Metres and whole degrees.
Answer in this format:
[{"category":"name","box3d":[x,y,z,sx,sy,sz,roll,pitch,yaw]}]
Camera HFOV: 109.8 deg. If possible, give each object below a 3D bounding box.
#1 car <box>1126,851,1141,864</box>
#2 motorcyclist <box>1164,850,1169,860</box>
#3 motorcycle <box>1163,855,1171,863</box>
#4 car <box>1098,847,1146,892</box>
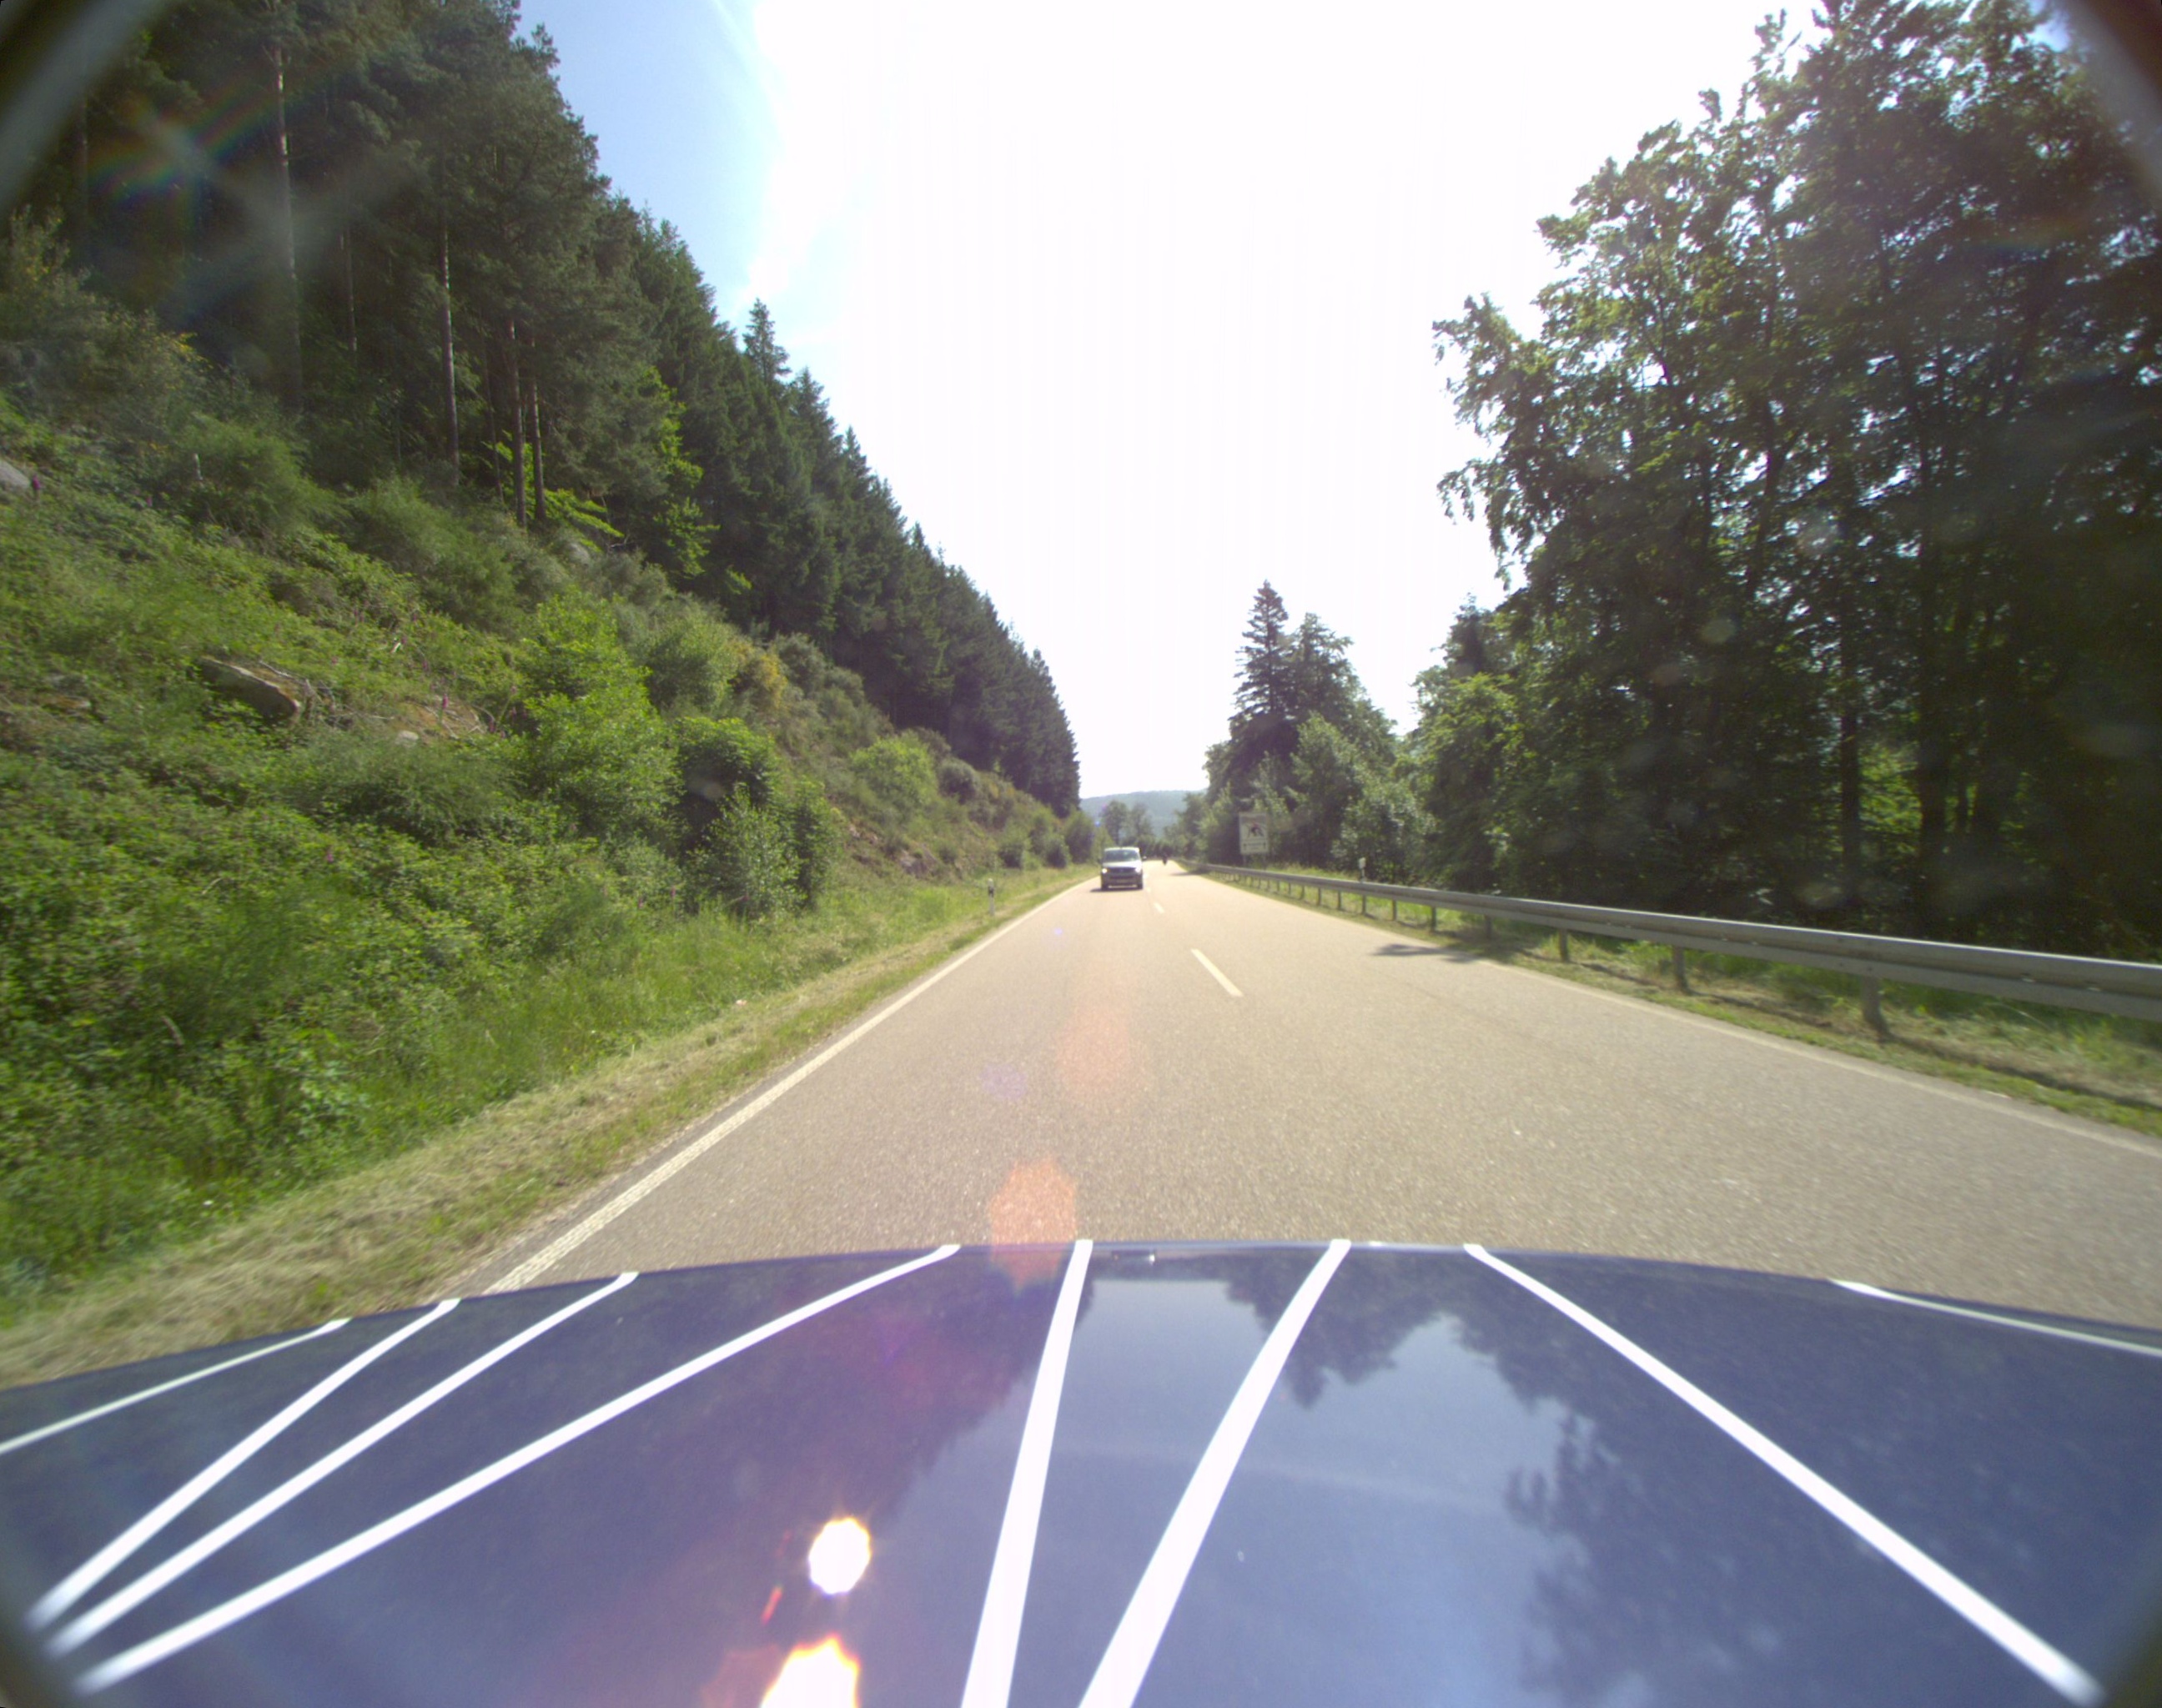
[{"category":"car","box3d":[7.461,0.543,107.269,1.998,1.718,4.001,-3,0,3]},{"category":"motorcyclist","box3d":[12.297,0.160,108.943,0.659,1.504,0.934,-2,0,8]},{"category":"motorcycle","box3d":[12.354,0.658,108.999,0.986,1.065,1.964,-2,0,8]},{"category":"car","box3d":[1.986,0.662,35.426,1.990,1.899,4.762,-2,0,5]}]
